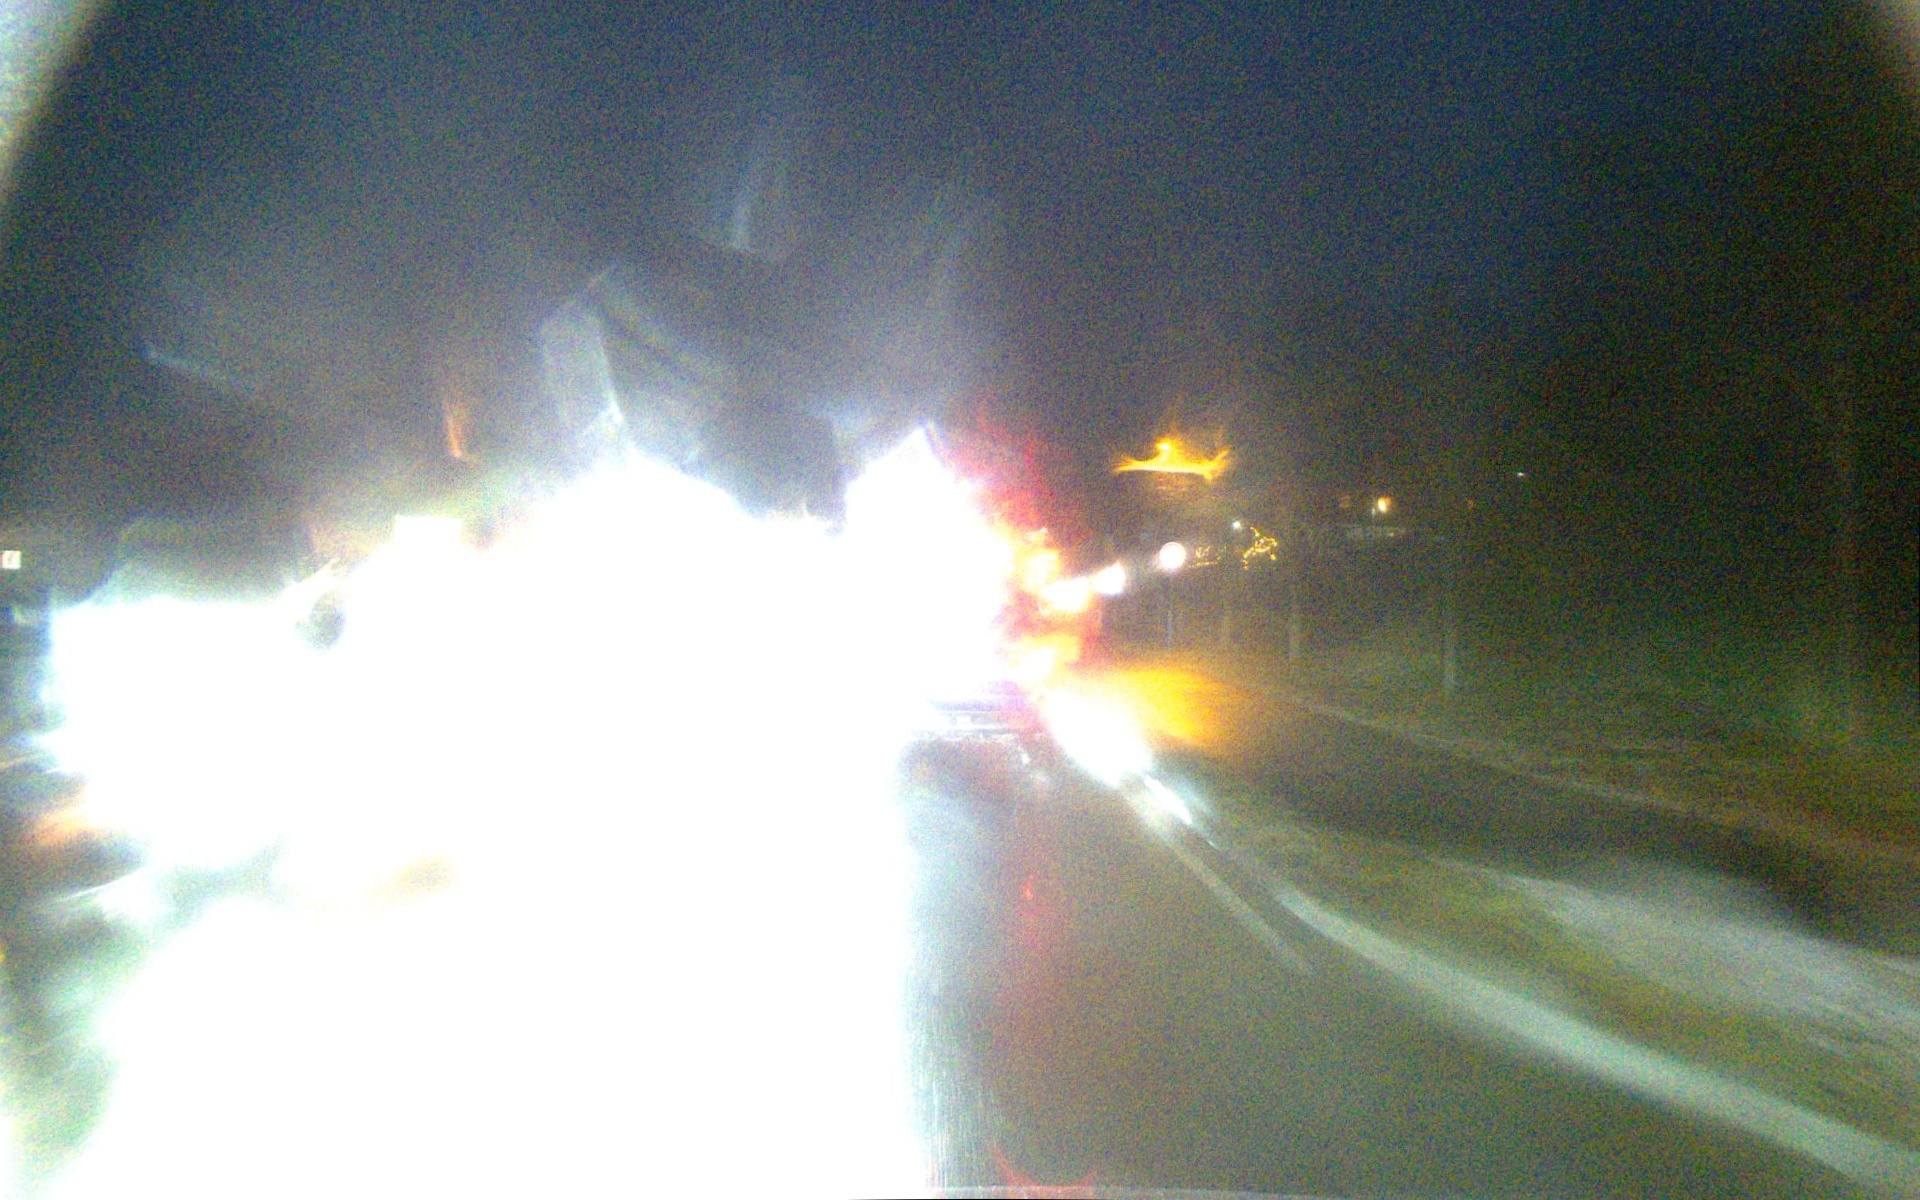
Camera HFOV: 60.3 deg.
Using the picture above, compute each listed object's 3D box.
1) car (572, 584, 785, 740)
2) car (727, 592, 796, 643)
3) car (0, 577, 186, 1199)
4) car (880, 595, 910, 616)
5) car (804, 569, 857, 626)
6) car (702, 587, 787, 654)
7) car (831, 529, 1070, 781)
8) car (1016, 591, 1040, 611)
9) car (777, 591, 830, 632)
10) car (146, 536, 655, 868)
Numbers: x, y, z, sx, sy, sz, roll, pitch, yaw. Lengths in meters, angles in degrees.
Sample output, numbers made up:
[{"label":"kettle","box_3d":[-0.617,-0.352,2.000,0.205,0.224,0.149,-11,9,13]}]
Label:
[{"label":"car","box_3d":[-3.167,0.636,19.471,1.806,1.602,4.595,1,0,-1]},{"label":"car","box_3d":[-6.238,0.531,52.355,1.685,1.534,3.827,1,0,0]},{"label":"car","box_3d":[-2.993,0.692,2.827,1.589,1.498,3.883,1,0,-2]},{"label":"car","box_3d":[-4.785,0.393,121.903,2.035,1.474,4.991,1,0,-1]},{"label":"car","box_3d":[-6.480,-0.140,83.366,2.079,2.755,6.241,1,0,0]},{"label":"car","box_3d":[-5.646,0.514,43.792,1.768,1.658,4.414,1,0,-2]},{"label":"car","box_3d":[-0.119,0.438,15.476,1.903,2.006,4.217,1,0,-1]},{"label":"car","box_3d":[5.492,0.089,132.832,1.628,1.475,4.052,0,-1,6]},{"label":"car","box_3d":[-6.322,0.449,67.173,1.685,1.616,4.312,1,0,0]},{"label":"car","box_3d":[-3.295,0.517,10.763,1.806,1.698,4.445,1,0,0]}]
